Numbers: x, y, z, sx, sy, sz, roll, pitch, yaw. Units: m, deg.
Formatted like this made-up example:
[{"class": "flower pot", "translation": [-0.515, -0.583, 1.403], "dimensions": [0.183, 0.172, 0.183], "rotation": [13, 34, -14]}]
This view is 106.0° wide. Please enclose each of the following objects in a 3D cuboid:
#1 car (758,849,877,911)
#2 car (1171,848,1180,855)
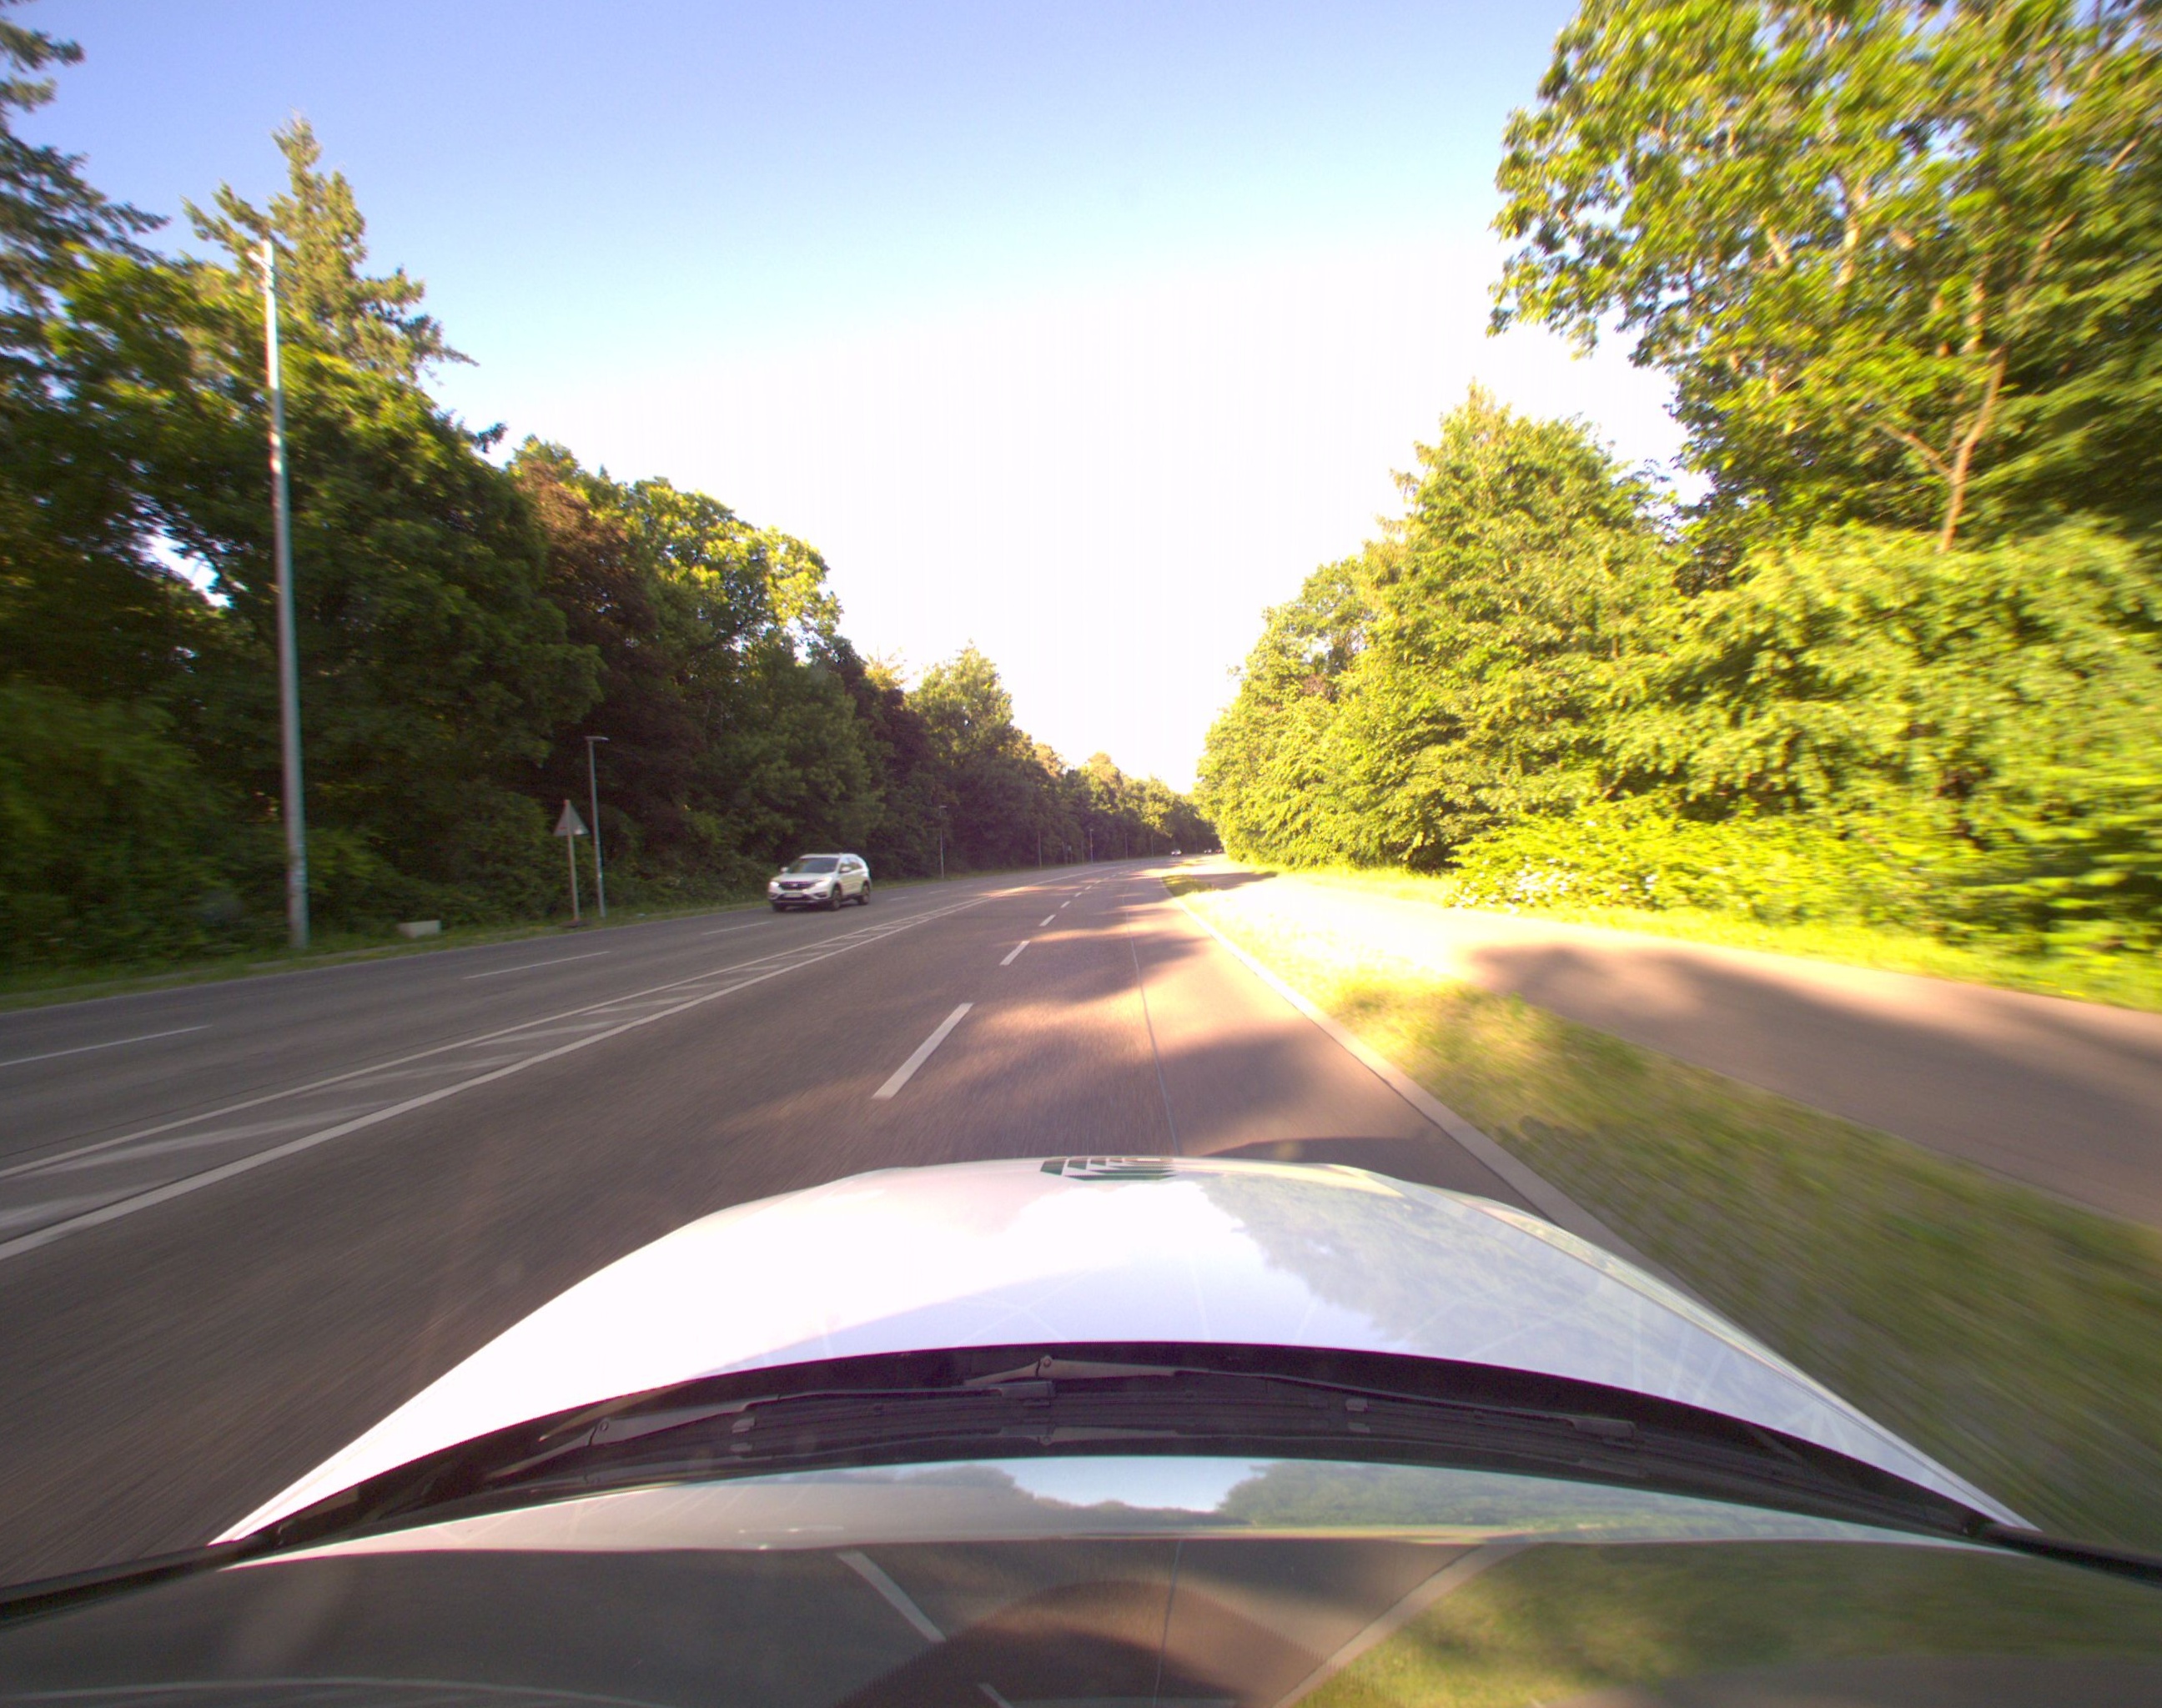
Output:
[{"class": "car", "translation": [-7.821, 0.701, 24.670], "dimensions": [1.901, 1.663, 4.735], "rotation": [-1, 0, 1]}, {"class": "car", "translation": [23.801, -0.529, 205.231], "dimensions": [1.984, 1.585, 4.006], "rotation": [-2, -1, 5]}]
